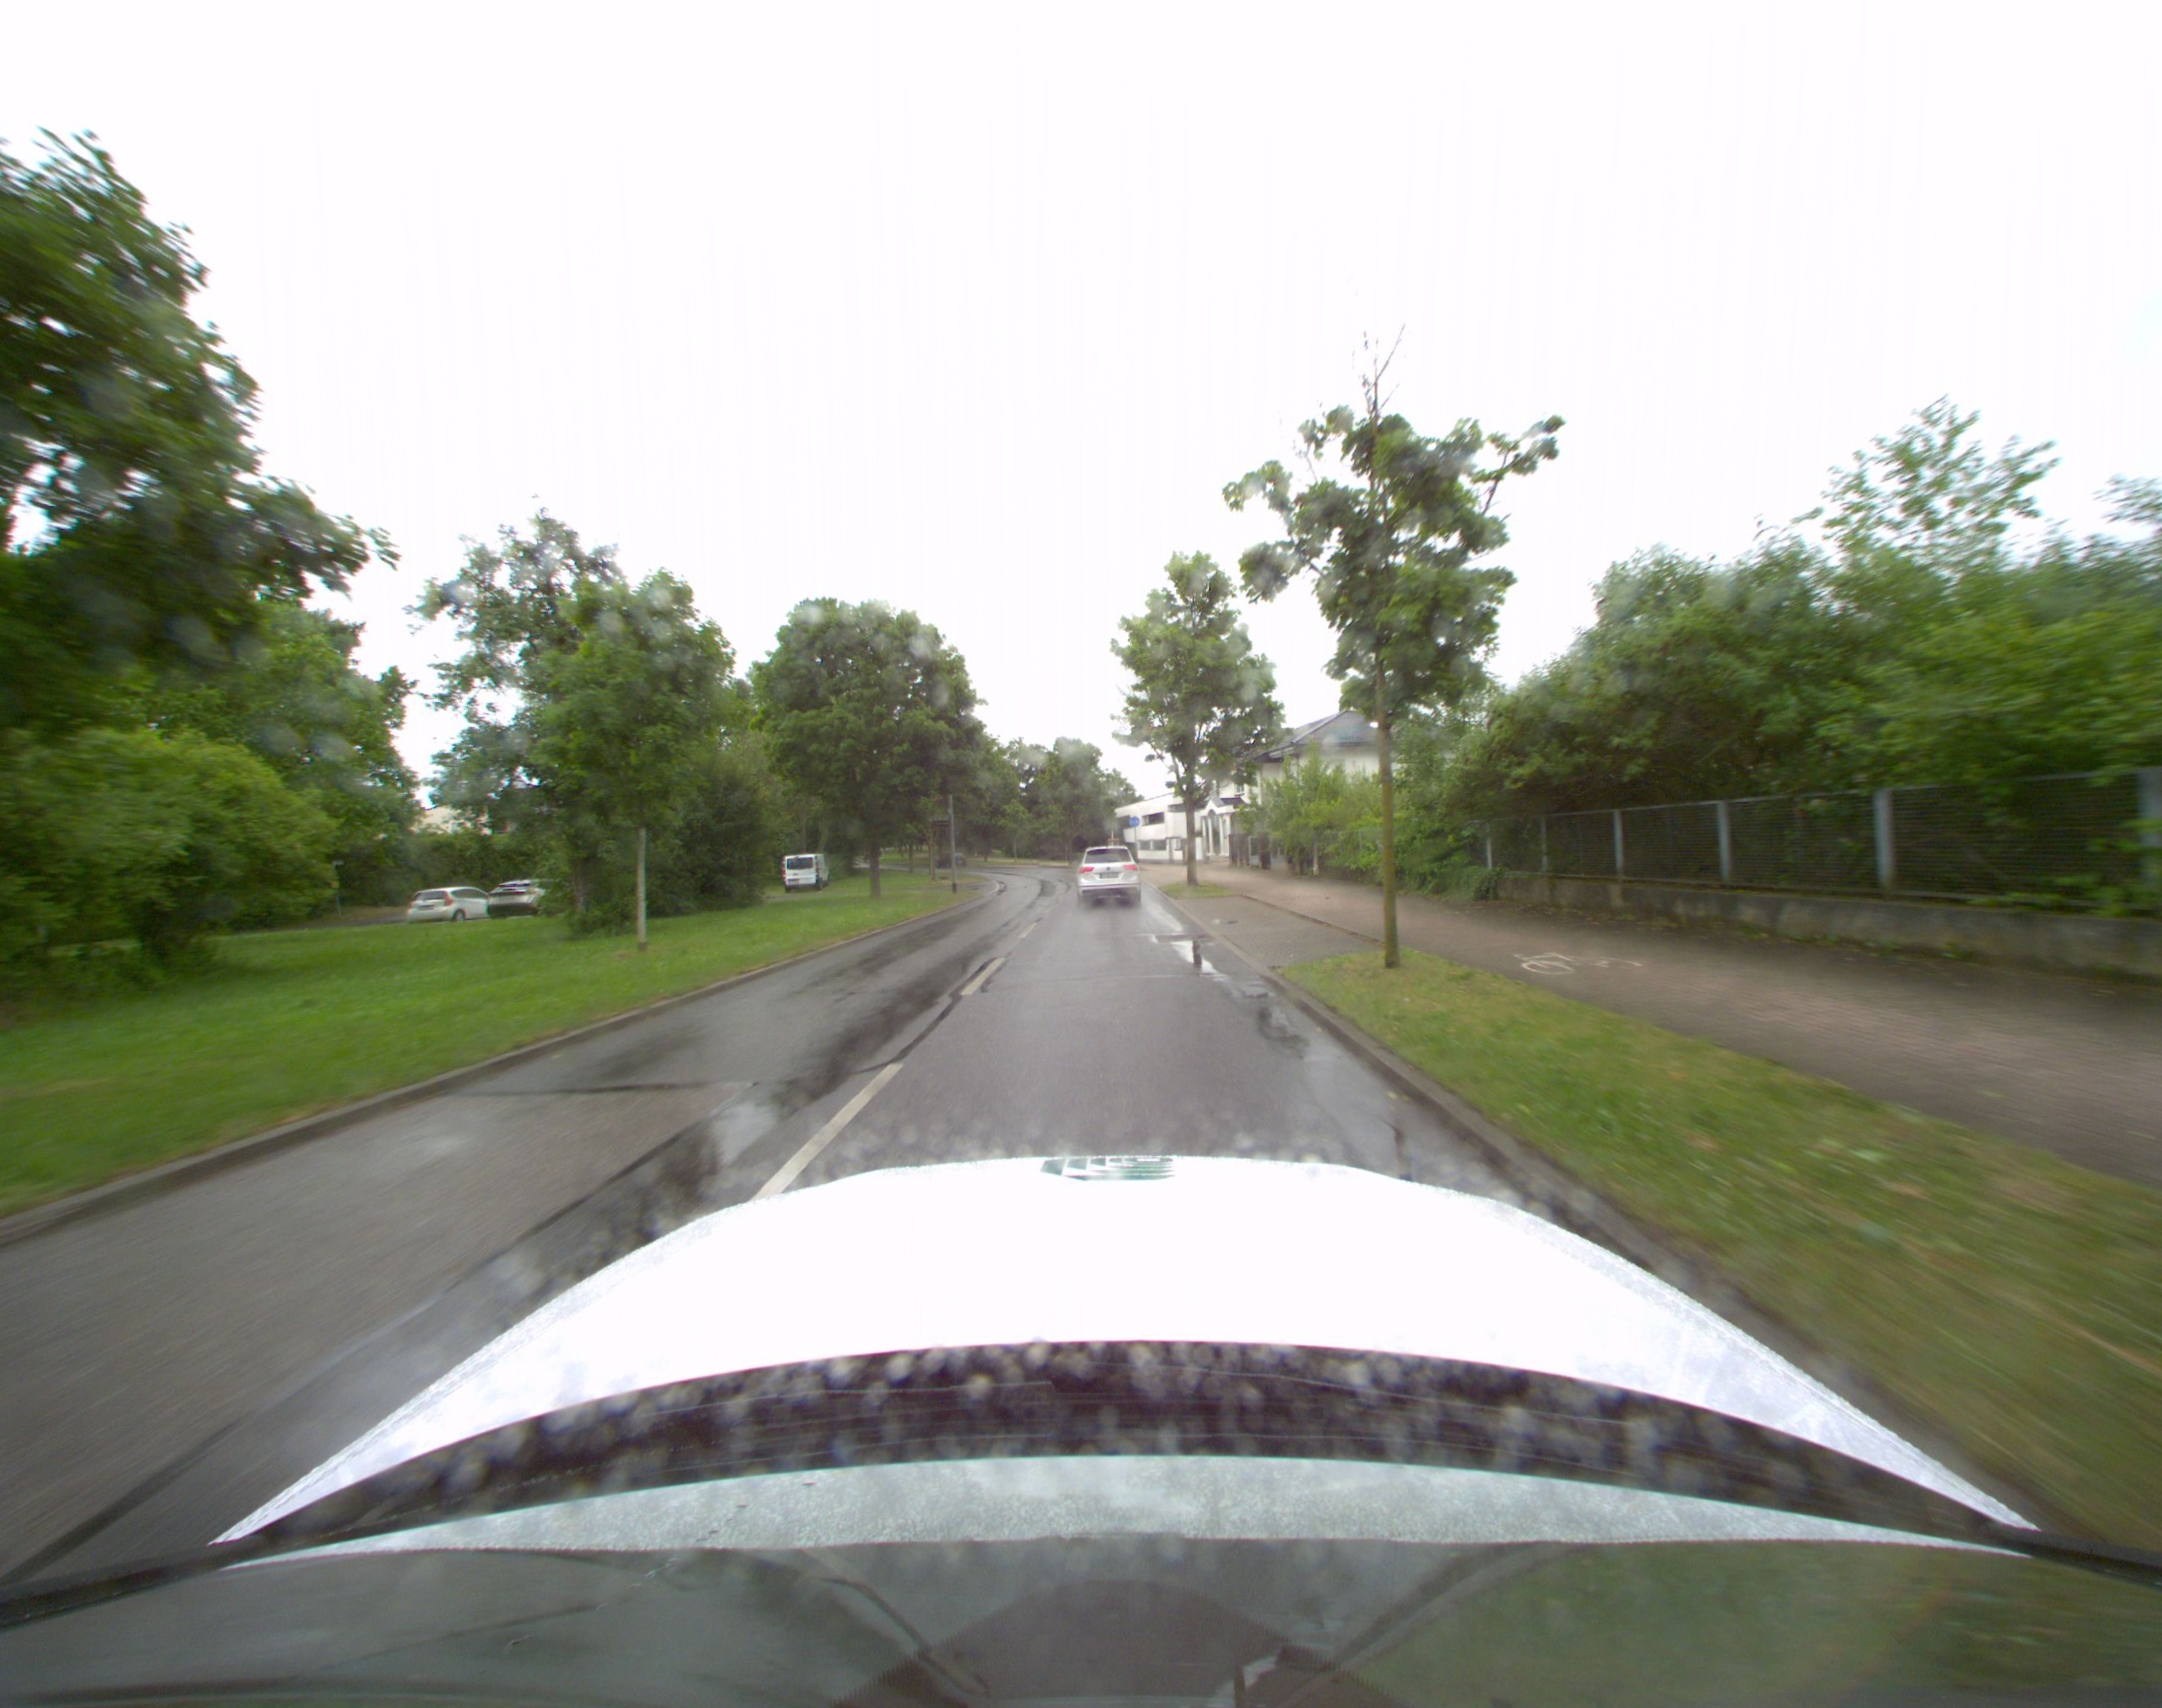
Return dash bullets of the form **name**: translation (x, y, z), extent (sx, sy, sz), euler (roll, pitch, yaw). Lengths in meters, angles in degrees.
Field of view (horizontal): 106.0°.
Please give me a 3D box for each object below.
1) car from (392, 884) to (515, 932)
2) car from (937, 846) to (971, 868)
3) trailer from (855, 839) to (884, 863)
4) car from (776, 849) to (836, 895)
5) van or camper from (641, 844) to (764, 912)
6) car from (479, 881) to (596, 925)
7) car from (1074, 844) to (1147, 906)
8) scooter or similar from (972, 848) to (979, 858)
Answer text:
- **car**: translation (-25.536, 2.142, 33.353), extent (1.850, 1.581, 4.344), euler (-3, 0, -5)
- **car**: translation (-11.926, 0.261, 76.289), extent (1.913, 2.013, 3.906), euler (-1, 0, -30)
- **trailer**: translation (-27.596, -0.379, 106.035), extent (2.006, 2.807, 5.556), euler (-9, 5, -28)
- **car**: translation (-15.085, 0.893, 45.034), extent (2.127, 1.985, 5.458), euler (-5, 3, -9)
- **van or camper**: translation (-15.347, 0.893, 33.594), extent (2.381, 2.360, 6.797), euler (-4, 0, -6)
- **car**: translation (-22.116, 1.937, 33.409), extent (1.788, 1.537, 4.992), euler (-3, -1, -6)
- **car**: translation (0.890, 0.566, 24.517), extent (1.966, 1.653, 4.180), euler (-2, 0, 2)
- **scooter or similar**: translation (-13.157, -0.159, 101.453), extent (0.465, 1.146, 1.290), euler (-5, 2, -25)
